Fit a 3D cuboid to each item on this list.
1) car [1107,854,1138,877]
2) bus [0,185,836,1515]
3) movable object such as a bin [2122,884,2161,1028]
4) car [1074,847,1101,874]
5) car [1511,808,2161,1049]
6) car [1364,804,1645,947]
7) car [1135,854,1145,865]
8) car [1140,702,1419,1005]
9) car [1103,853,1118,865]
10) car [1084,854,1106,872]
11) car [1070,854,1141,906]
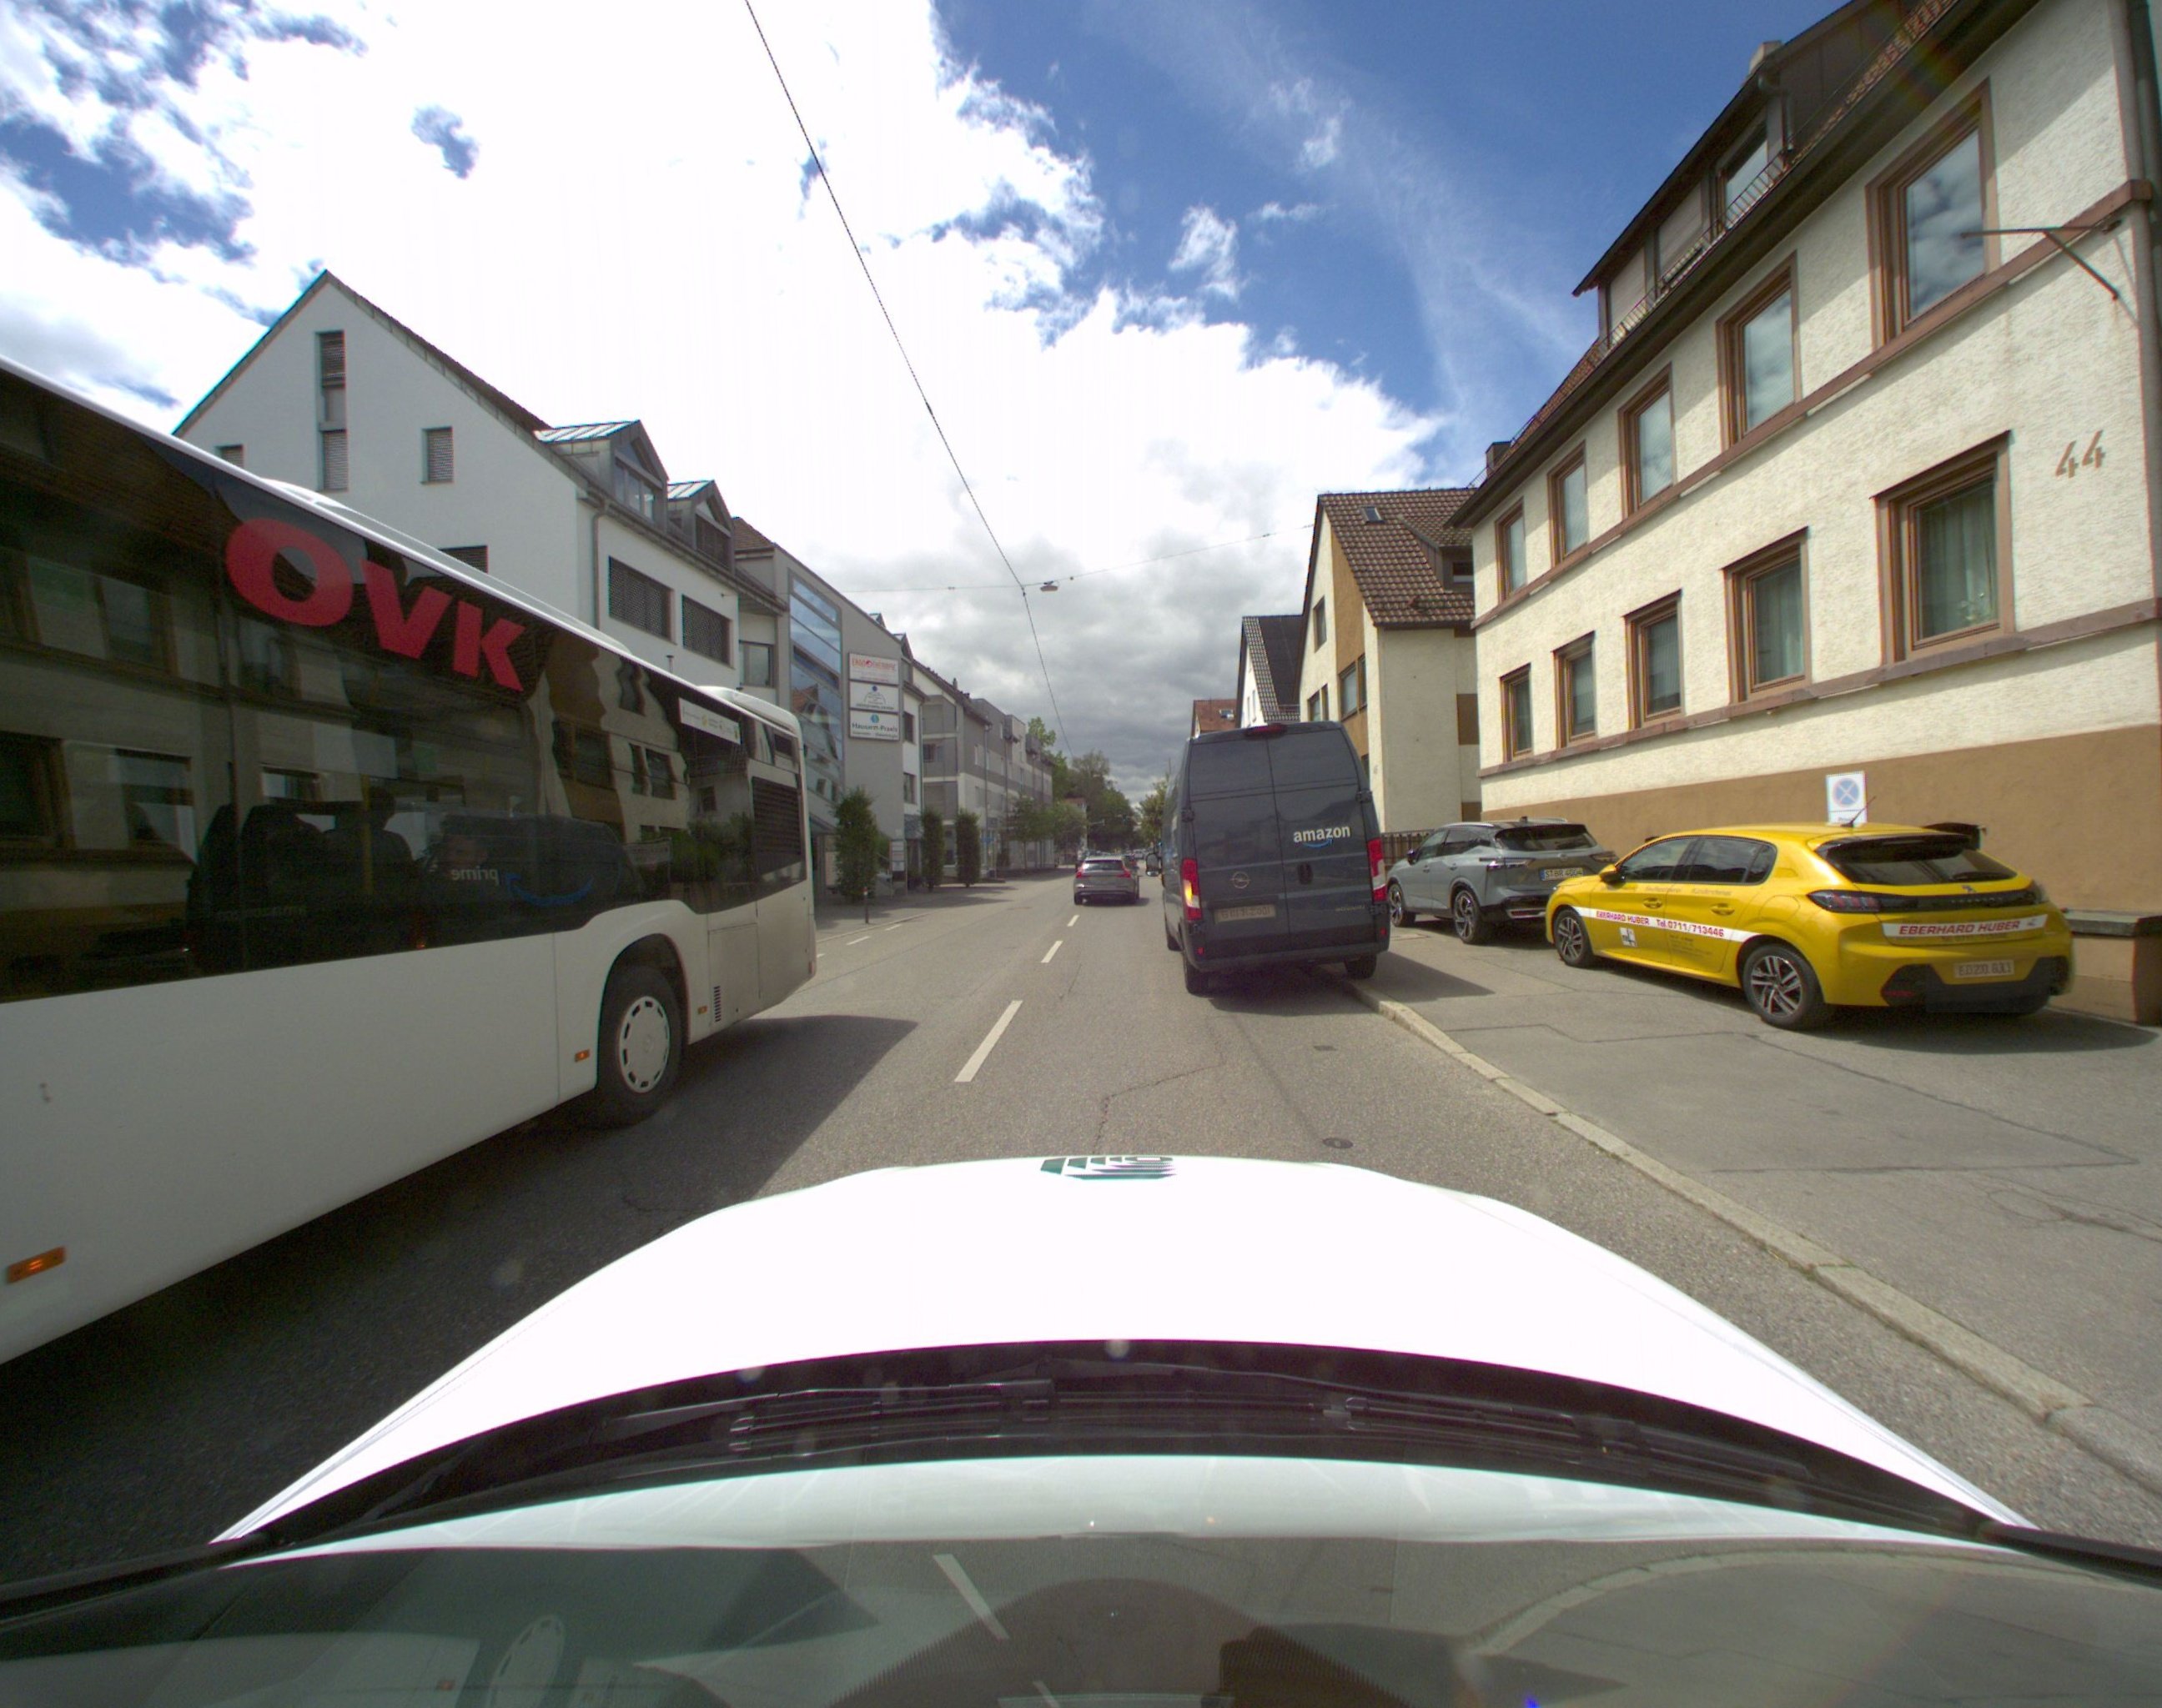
[{"bbox_3d":[2.774,0.731,53.989,1.888,1.446,3.973,-1,0,4],"label":"car"},{"bbox_3d":[-3.980,0.015,4.732,2.708,3.163,8.064,-2,0,-1],"label":"bus"},{"bbox_3d":[7.289,0.668,5.195,0.498,0.925,0.599,-2,0,6],"label":"movable object such as a bin"},{"bbox_3d":[0.618,0.540,71.371,2.097,2.121,4.768,-4,0,2],"label":"car"},{"bbox_3d":[5.915,0.389,7.289,1.870,1.447,4.308,-2,2,1],"label":"car"},{"bbox_3d":[5.882,0.253,12.085,1.853,1.612,4.588,-3,0,2],"label":"car"},{"bbox_3d":[11.371,1.011,156.718,1.984,2.013,4.005,-2,0,4],"label":"car"},{"bbox_3d":[2.080,-0.003,10.507,2.245,2.795,5.570,-2,0,1],"label":"car"},{"bbox_3d":[4.232,0.738,117.830,2.097,1.596,4.652,-2,0,2],"label":"car"},{"bbox_3d":[1.438,0.891,83.528,2.097,1.709,4.768,-2,0,2],"label":"car"},{"bbox_3d":[0.842,0.765,25.645,1.887,1.453,3.976,-1,0,6],"label":"car"}]
